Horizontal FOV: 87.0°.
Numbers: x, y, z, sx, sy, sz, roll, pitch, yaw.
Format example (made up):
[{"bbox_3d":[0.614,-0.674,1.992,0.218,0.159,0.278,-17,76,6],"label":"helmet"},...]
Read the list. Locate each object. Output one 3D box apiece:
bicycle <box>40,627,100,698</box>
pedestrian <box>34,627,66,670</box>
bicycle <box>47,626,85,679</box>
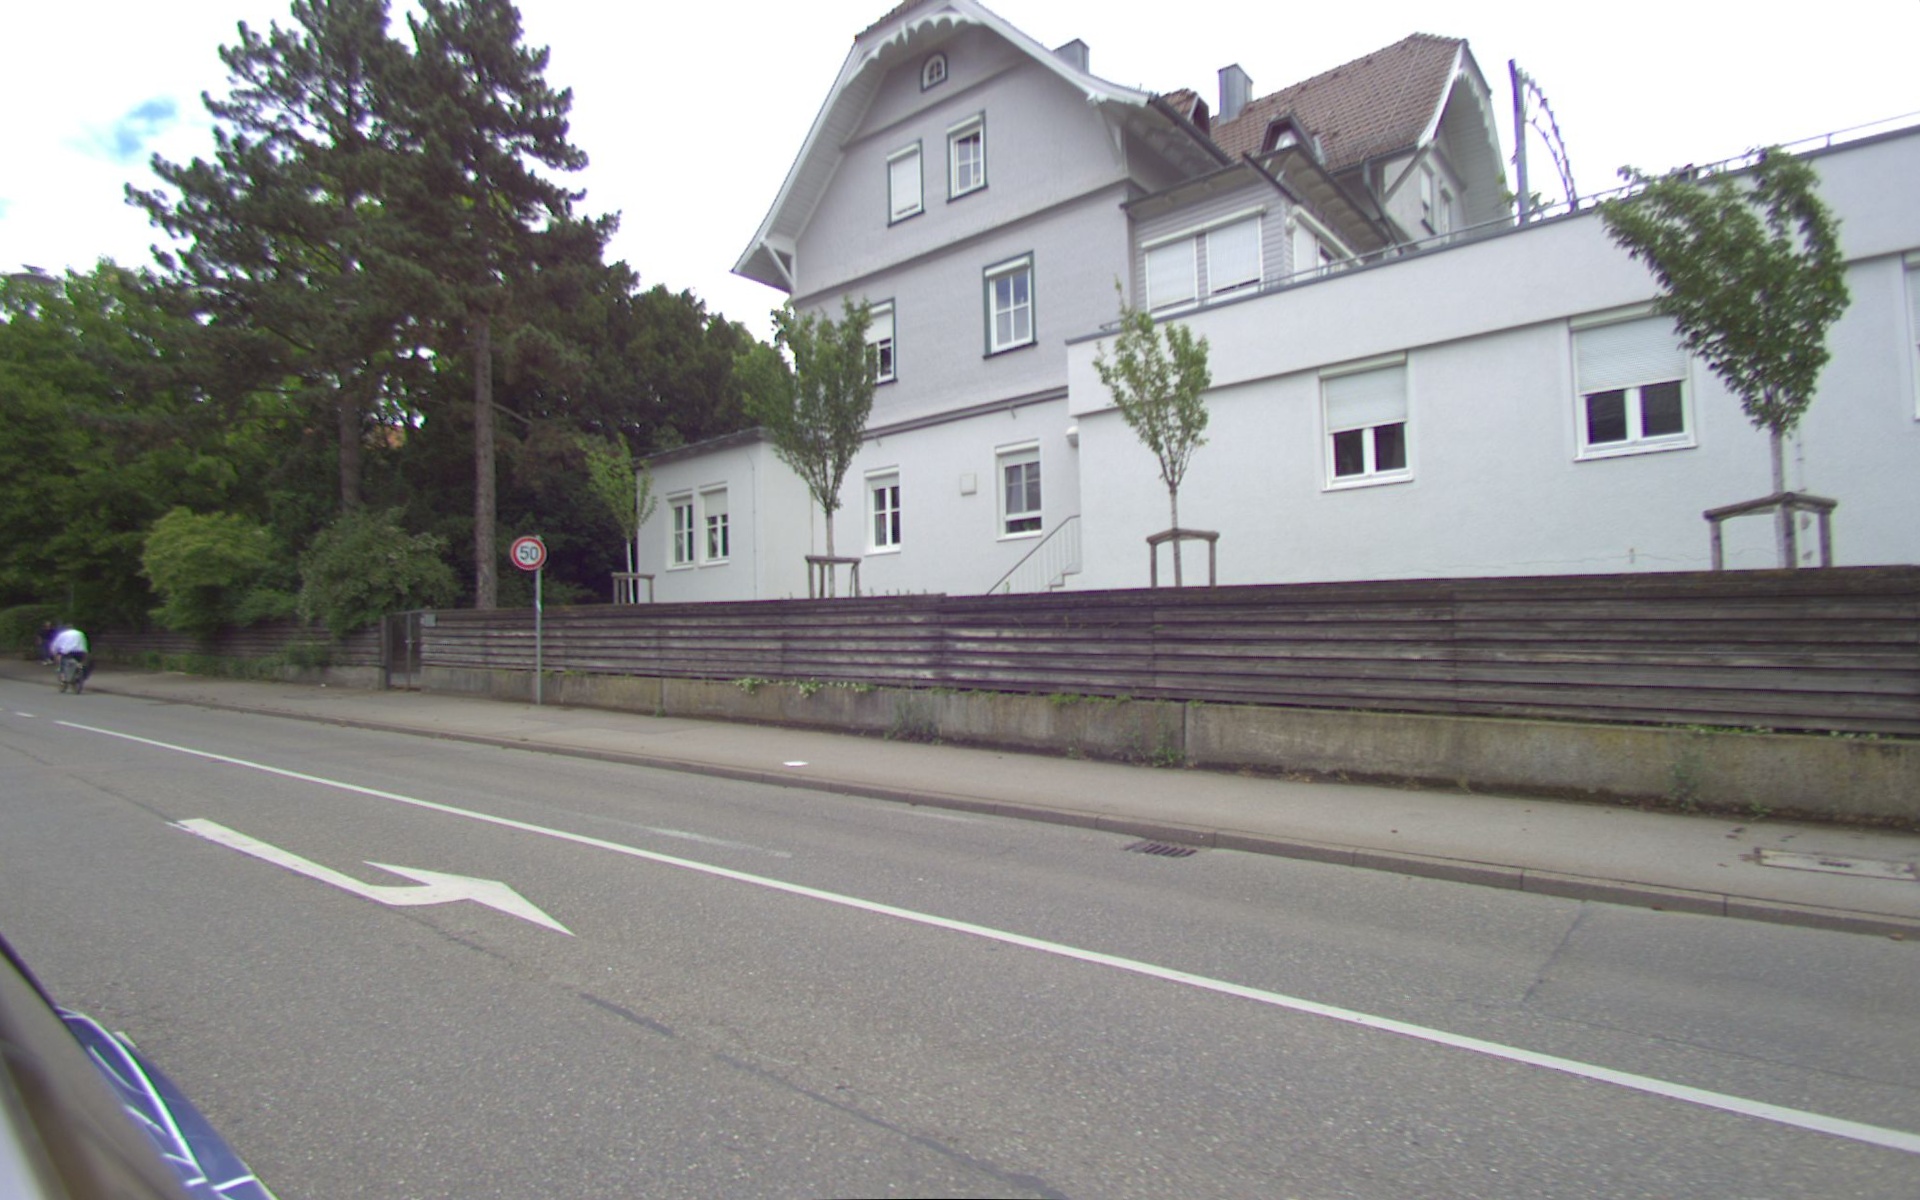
[{"bbox_3d":[-22.668,1.581,25.762,1.869,1.758,0.751,-2,-4,38],"label":"bicycle"},{"bbox_3d":[-36.334,1.932,40.403,0.914,1.674,0.625,0,-2,26],"label":"pedestrian"},{"bbox_3d":[-29.249,1.699,33.101,1.978,1.689,0.556,-2,-2,38],"label":"bicycle"}]
